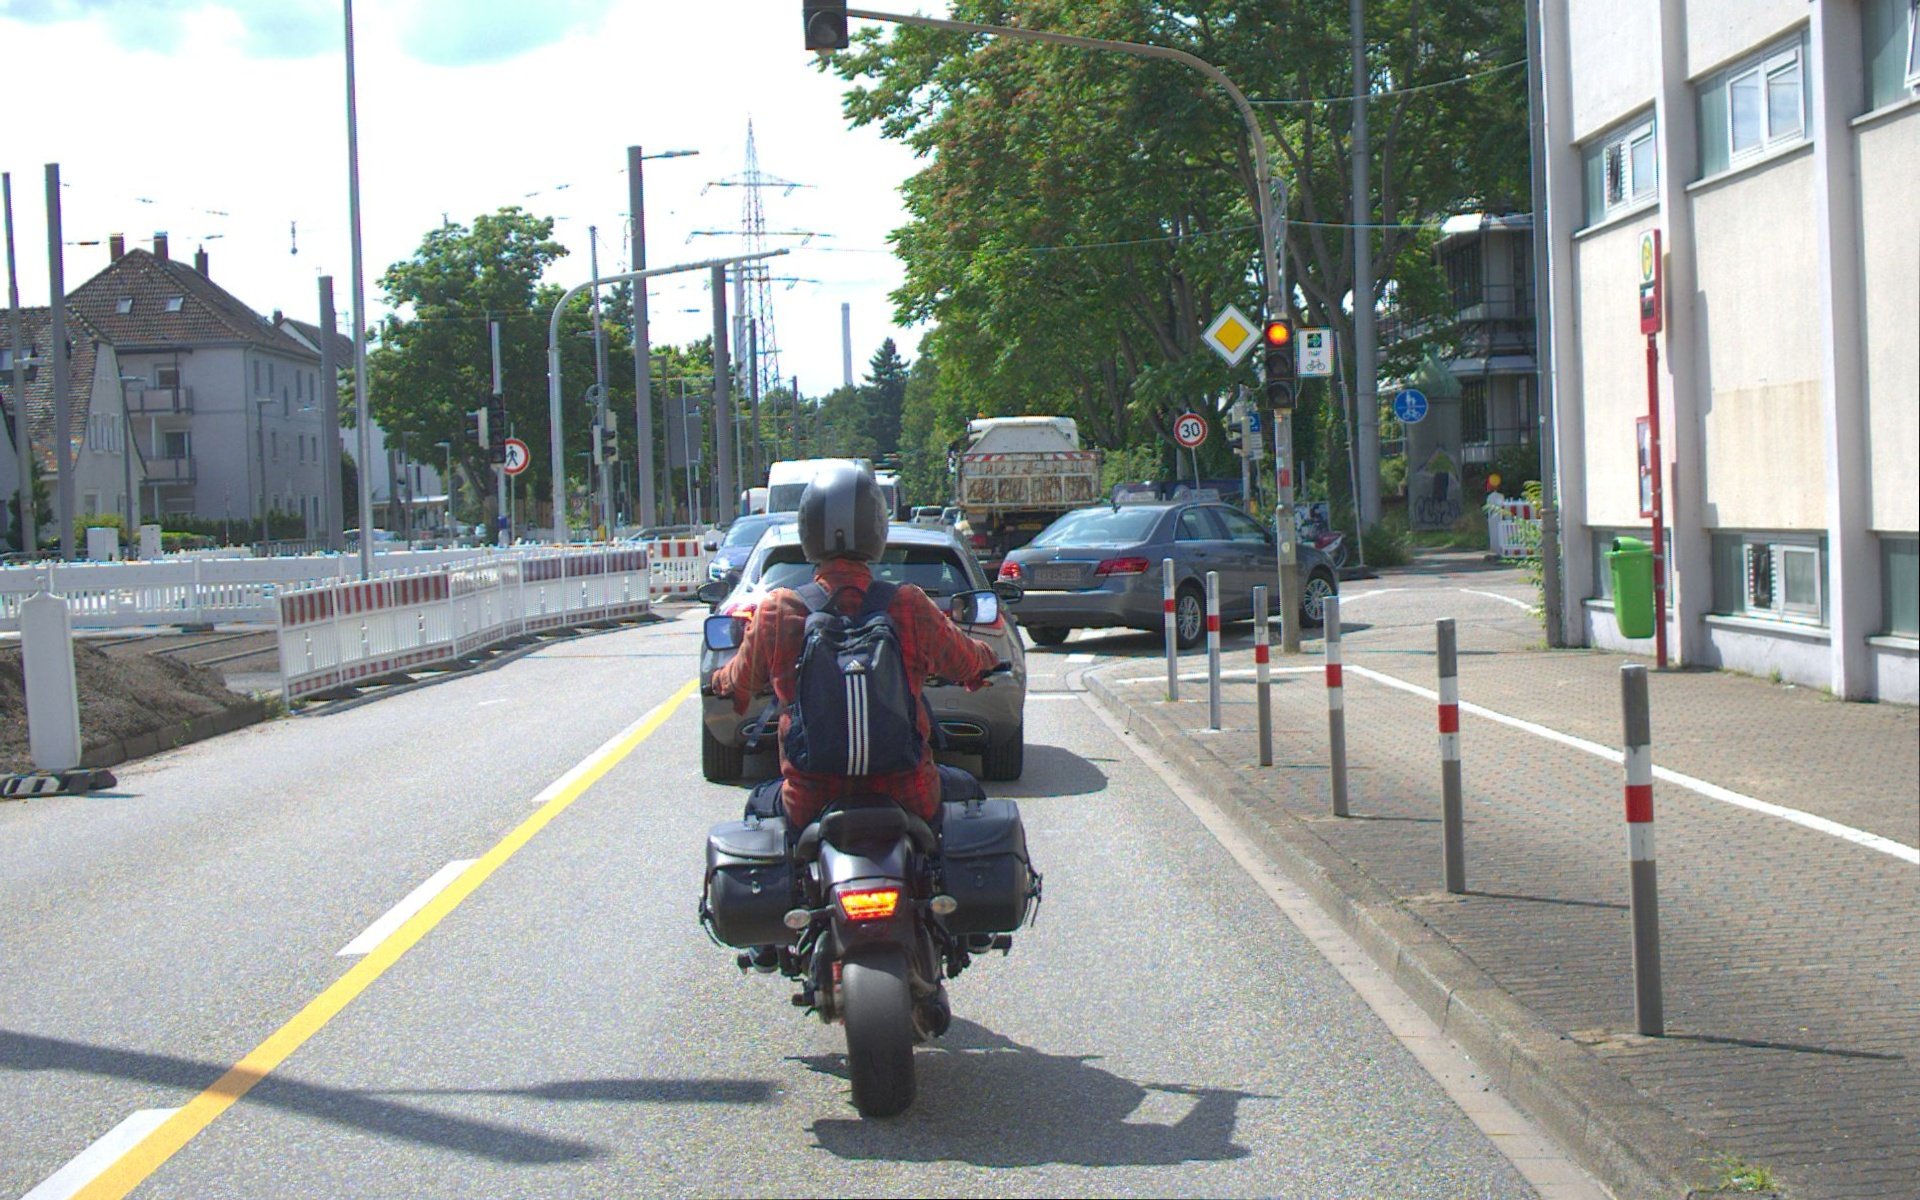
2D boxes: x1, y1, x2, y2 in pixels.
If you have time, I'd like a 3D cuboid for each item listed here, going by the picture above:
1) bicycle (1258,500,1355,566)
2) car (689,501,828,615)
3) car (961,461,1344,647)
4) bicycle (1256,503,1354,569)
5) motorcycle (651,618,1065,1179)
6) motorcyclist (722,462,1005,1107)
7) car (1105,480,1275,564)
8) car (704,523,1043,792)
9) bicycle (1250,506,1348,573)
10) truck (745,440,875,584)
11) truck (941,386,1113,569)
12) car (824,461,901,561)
[{"bbox_3d":[6.176,-1.194,61.330,1.708,1.168,0.438,0,1,5],"label":"bicycle"},{"bbox_3d":[-2.826,-0.632,48.960,1.645,1.493,4.269,-1,2,1],"label":"car"},{"bbox_3d":[2.118,-0.529,36.319,1.905,1.706,4.711,0,3,33],"label":"car"},{"bbox_3d":[6.096,-1.136,60.783,1.708,1.168,0.438,0,1,5],"label":"bicycle"},{"bbox_3d":[-0.245,0.689,9.078,0.942,1.196,2.473,0,2,-1],"label":"motorcycle"},{"bbox_3d":[-0.241,0.452,8.856,0.698,1.599,0.692,0,1,-1],"label":"motorcyclist"},{"bbox_3d":[5.412,-1.824,80.588,1.802,1.919,3.989,1,1,45],"label":"car"},{"bbox_3d":[-0.607,0.264,20.245,1.731,1.399,4.087,0,2,-5],"label":"car"},{"bbox_3d":[5.939,-1.066,60.298,1.708,1.168,0.438,0,1,5],"label":"bicycle"},{"bbox_3d":[-2.783,-1.719,64.924,2.093,2.468,5.197,-3,3,0],"label":"truck"},{"bbox_3d":[1.295,-2.187,63.225,2.967,3.162,7.764,0,1,2],"label":"truck"},{"bbox_3d":[-2.118,-1.945,75.392,1.589,2.135,3.627,0,1,0],"label":"car"}]
